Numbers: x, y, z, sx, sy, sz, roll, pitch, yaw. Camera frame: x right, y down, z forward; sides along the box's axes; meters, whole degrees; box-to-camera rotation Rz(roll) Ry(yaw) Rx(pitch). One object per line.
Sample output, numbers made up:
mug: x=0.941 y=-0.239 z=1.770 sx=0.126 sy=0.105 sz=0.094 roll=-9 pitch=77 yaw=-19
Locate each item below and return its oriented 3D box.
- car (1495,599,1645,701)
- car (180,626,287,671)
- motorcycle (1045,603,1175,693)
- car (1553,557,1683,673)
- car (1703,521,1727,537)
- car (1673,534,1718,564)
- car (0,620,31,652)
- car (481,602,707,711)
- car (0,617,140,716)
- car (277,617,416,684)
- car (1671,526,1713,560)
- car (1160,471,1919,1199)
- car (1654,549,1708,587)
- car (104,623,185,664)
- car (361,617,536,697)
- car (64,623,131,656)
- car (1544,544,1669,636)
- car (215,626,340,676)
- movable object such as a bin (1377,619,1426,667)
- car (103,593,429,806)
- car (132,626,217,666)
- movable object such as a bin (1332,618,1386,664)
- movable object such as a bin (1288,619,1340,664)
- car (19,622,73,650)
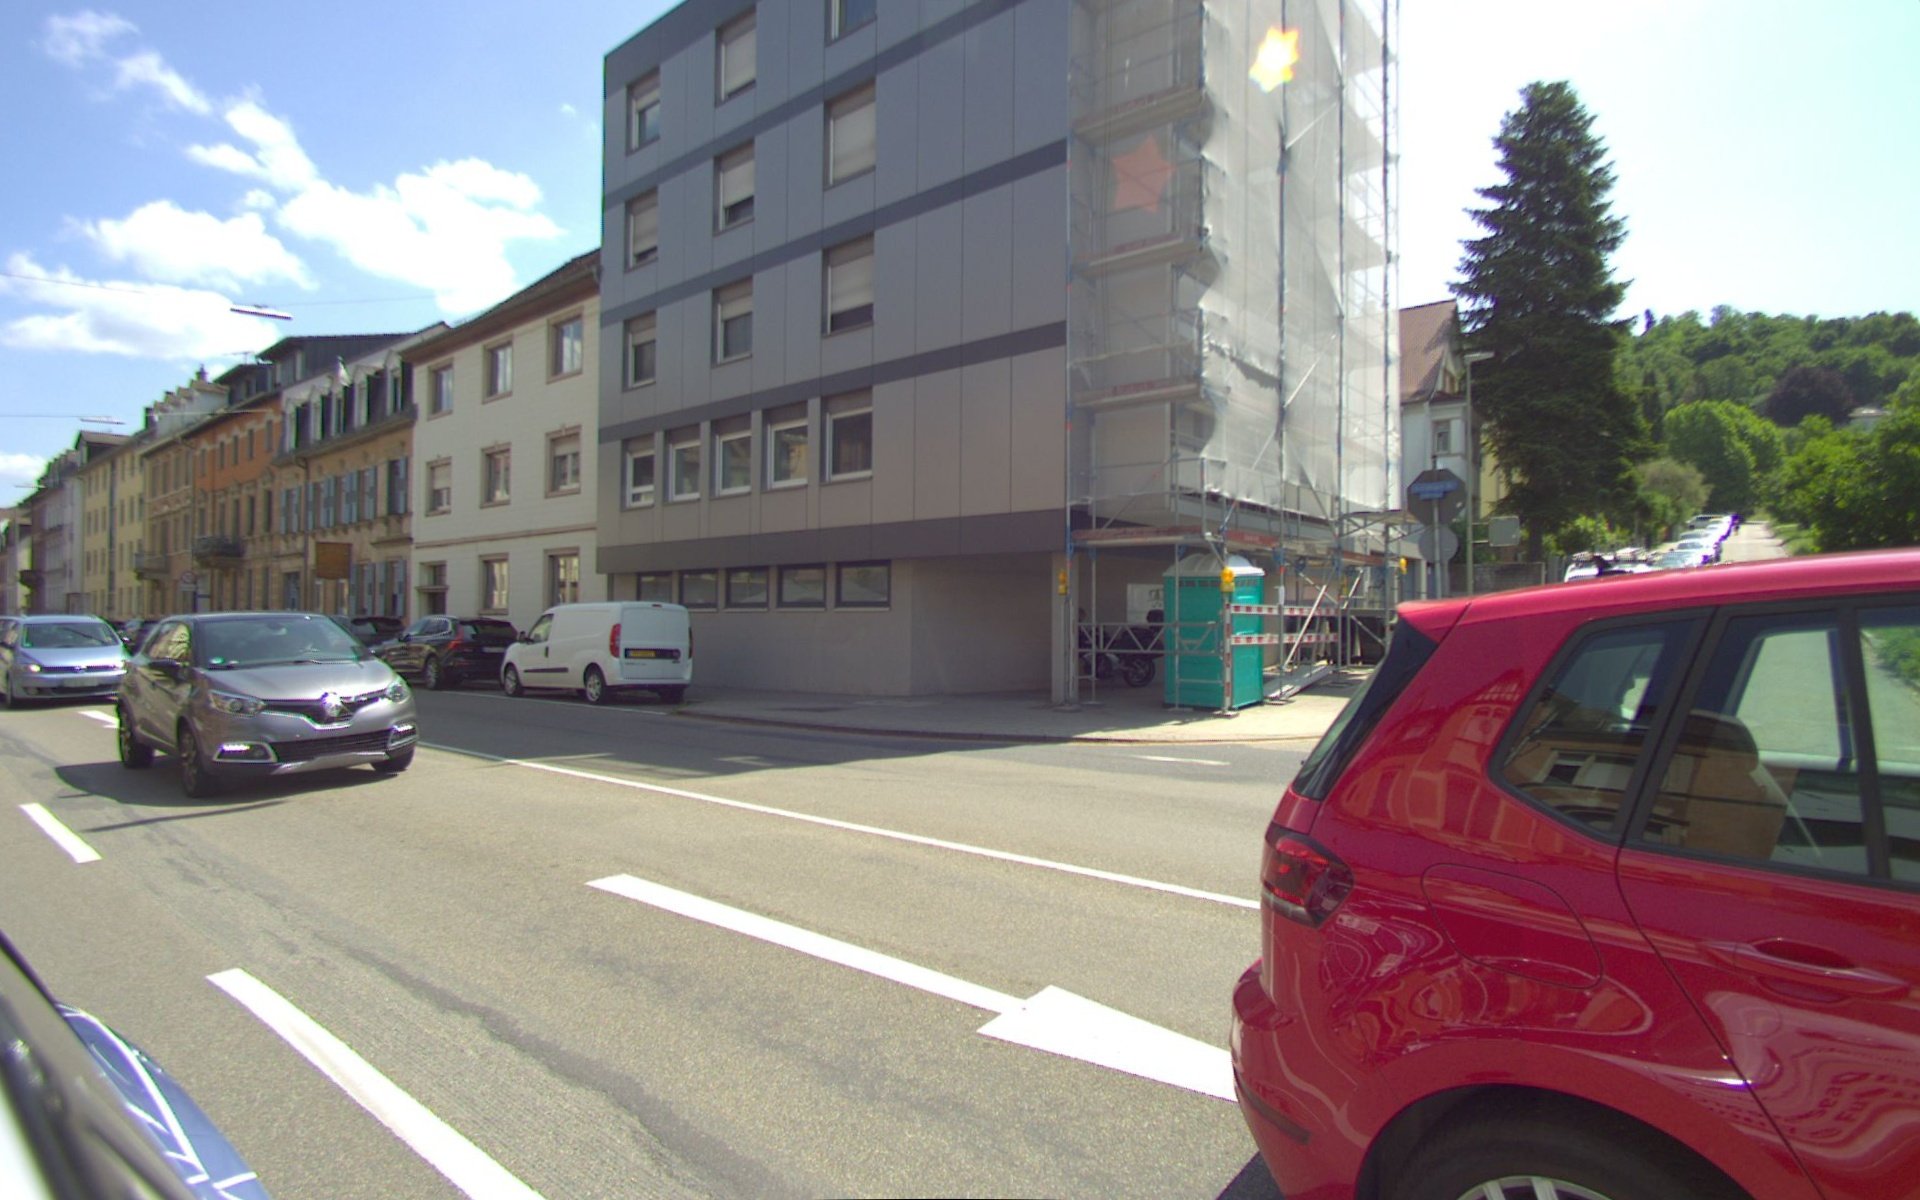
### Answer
car: x=10.254 y=0.752 z=16.887 sx=1.755 sy=1.458 sz=3.693 roll=-2 pitch=-1 yaw=37
car: x=-25.642 y=1.711 z=35.701 sx=4.325 sy=1.417 sz=1.847 roll=-1 pitch=-5 yaw=38
motorcycle: x=2.576 y=0.807 z=17.511 sx=2.009 sy=1.483 sz=0.884 roll=-1 pitch=-1 yaw=-11
car: x=13.695 y=0.208 z=20.958 sx=1.996 sy=2.028 sz=4.953 roll=-2 pitch=2 yaw=35
car: x=73.450 y=-6.882 z=98.400 sx=1.756 sy=1.458 sz=3.693 roll=-1 pitch=3 yaw=38
car: x=39.276 y=-2.739 z=54.099 sx=1.754 sy=1.458 sz=3.697 roll=-2 pitch=2 yaw=34
car: x=-48.957 y=1.807 z=51.766 sx=4.310 sy=1.587 sz=1.683 roll=-1 pitch=-3 yaw=42
car: x=-7.103 y=1.016 z=19.414 sx=4.784 sy=1.839 sz=1.894 roll=-1 pitch=-3 yaw=40
car: x=-16.334 y=1.114 z=18.291 sx=3.998 sy=1.580 sz=1.736 roll=-1 pitch=-1 yaw=42
car: x=-16.591 y=1.323 z=27.269 sx=4.816 sy=1.653 sz=1.865 roll=-1 pitch=-3 yaw=42
car: x=41.773 y=-3.275 z=57.798 sx=1.754 sy=1.828 sz=3.697 roll=-2 pitch=2 yaw=34
car: x=2.505 y=0.601 z=1.387 sx=4.036 sy=1.569 sz=1.780 roll=-1 pitch=-1 yaw=42
car: x=31.065 y=-1.415 z=43.677 sx=1.754 sy=1.458 sz=3.697 roll=-2 pitch=2 yaw=34
car: x=-35.843 y=1.875 z=44.450 sx=4.496 sy=1.640 sz=1.846 roll=-1 pitch=-5 yaw=40
car: x=-11.811 y=1.244 z=23.245 sx=4.659 sy=1.653 sz=1.866 roll=-1 pitch=-3 yaw=40
car: x=-44.744 y=2.048 z=52.483 sx=4.497 sy=1.563 sz=1.846 roll=-1 pitch=-5 yaw=40
car: x=17.356 y=-0.329 z=27.047 sx=2.074 sy=2.193 sz=4.944 roll=-1 pitch=2 yaw=41
car: x=-21.722 y=1.592 z=32.130 sx=4.832 sy=1.417 sz=1.847 roll=-1 pitch=-5 yaw=39
movable object such as a bin: x=8.939 y=0.863 z=20.496 sx=0.703 sy=0.933 sz=0.730 roll=-2 pitch=-1 yaw=42
car: x=-6.849 y=0.810 z=9.820 sx=3.999 sy=1.644 sz=1.735 roll=-2 pitch=-1 yaw=42
car: x=-32.109 y=1.863 z=41.339 sx=4.328 sy=1.437 sz=1.845 roll=-1 pitch=-5 yaw=41
movable object such as a bin: x=8.294 y=0.846 z=21.056 sx=0.826 sy=0.933 sz=0.730 roll=-2 pitch=-1 yaw=42
movable object such as a bin: x=7.627 y=0.892 z=21.802 sx=0.826 sy=0.933 sz=0.730 roll=-2 pitch=-1 yaw=42
car: x=-56.531 y=2.227 z=62.569 sx=4.311 sy=1.563 sz=1.845 roll=-1 pitch=-5 yaw=41
